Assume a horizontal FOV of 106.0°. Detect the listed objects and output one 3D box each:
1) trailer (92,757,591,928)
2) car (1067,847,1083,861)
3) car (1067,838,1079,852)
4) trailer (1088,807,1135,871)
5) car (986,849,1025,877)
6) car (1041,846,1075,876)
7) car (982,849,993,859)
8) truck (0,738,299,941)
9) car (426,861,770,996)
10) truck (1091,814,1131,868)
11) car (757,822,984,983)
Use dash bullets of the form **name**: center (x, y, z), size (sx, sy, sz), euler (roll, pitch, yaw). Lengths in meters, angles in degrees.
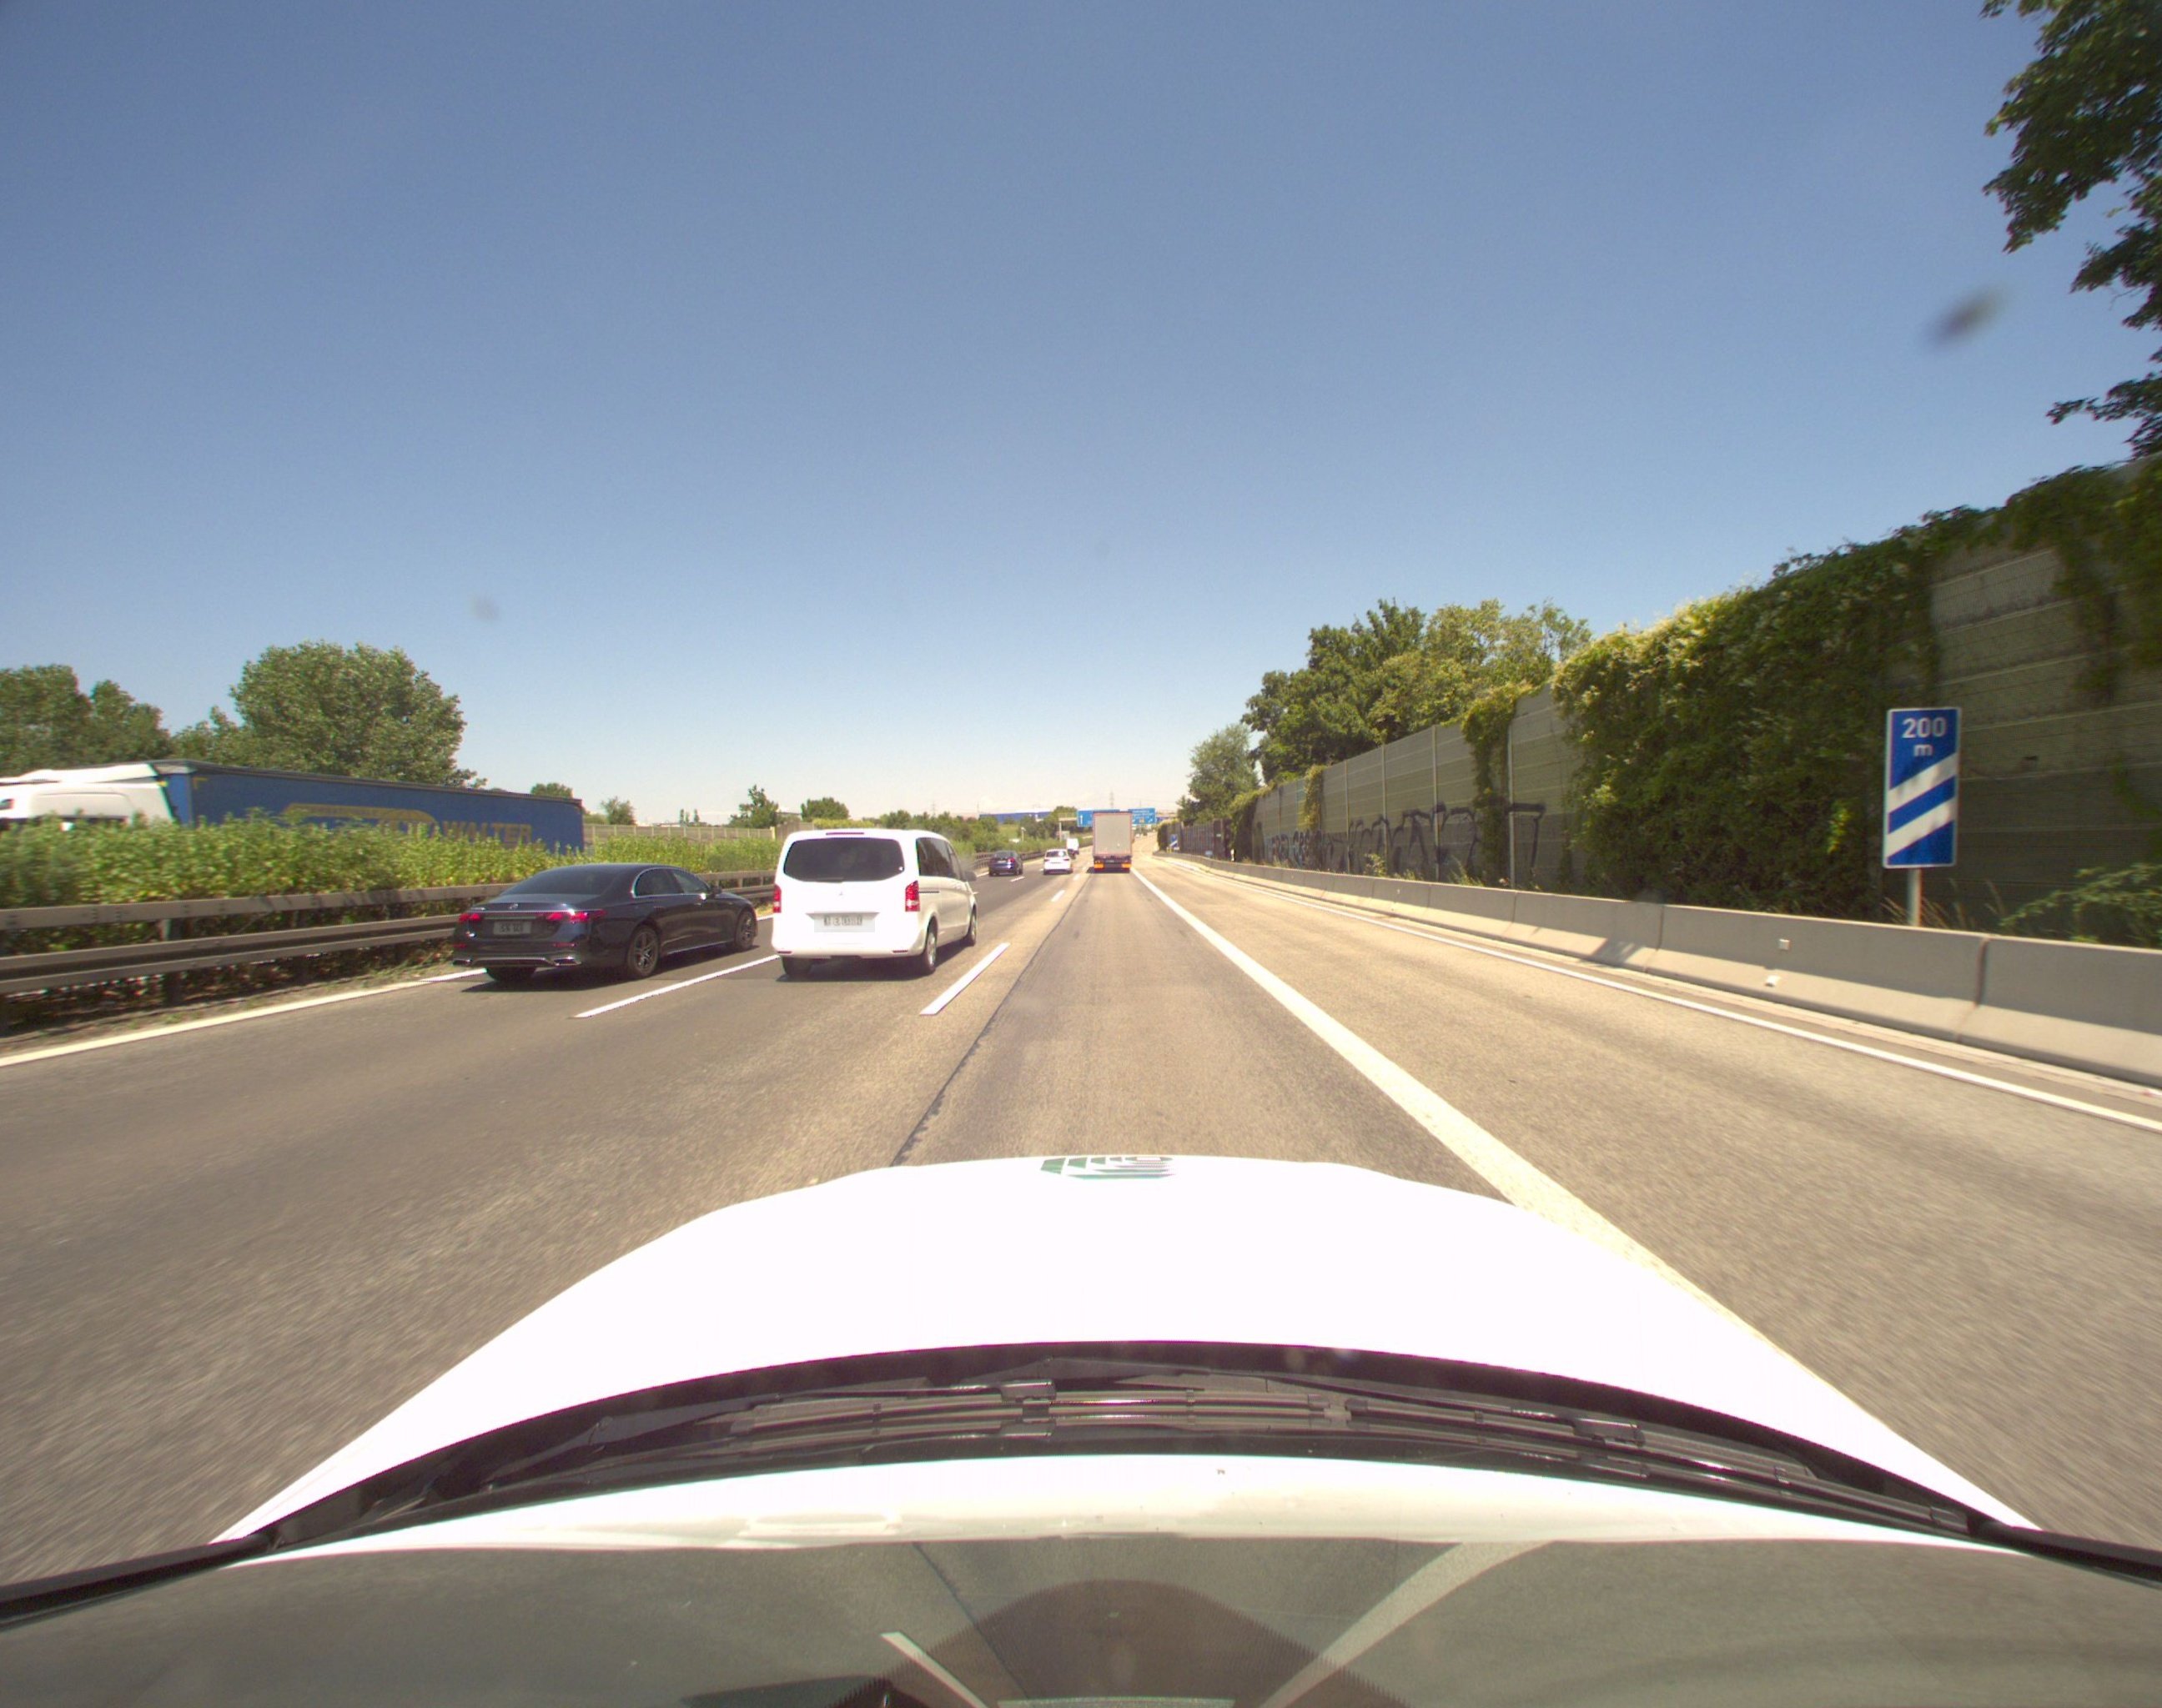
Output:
- **trailer**: center (-20.968, -0.287, 25.399), size (2.695, 3.852, 13.679), euler (-1, 0, 2)
- **car**: center (-0.731, -0.020, 107.593), size (1.897, 1.689, 4.633), euler (-1, 0, 2)
- **car**: center (-1.361, -1.520, 142.298), size (1.986, 2.374, 4.001), euler (0, -1, 2)
- **trailer**: center (2.133, -0.971, 57.789), size (2.917, 4.015, 12.043), euler (-1, 0, 2)
- **car**: center (-4.890, 0.540, 53.258), size (1.897, 1.689, 4.633), euler (-1, 0, 2)
- **car**: center (-1.460, 0.437, 53.723), size (1.897, 1.851, 4.633), euler (-1, 0, 2)
- **car**: center (-20.087, -0.055, 174.728), size (1.664, 2.013, 4.002), euler (-1, 0, 2)
- **truck**: center (-21.204, -0.271, 18.053), size (2.660, 3.852, 5.094), euler (-1, 0, 2)
- **car**: center (-6.354, 0.859, 11.603), size (1.750, 1.408, 5.042), euler (-1, 0, 2)
- **truck**: center (2.394, -0.972, 65.274), size (2.917, 4.015, 7.586), euler (-1, 0, 2)
- **car**: center (-2.748, 0.557, 11.873), size (1.923, 1.851, 4.694), euler (-1, 0, 2)
